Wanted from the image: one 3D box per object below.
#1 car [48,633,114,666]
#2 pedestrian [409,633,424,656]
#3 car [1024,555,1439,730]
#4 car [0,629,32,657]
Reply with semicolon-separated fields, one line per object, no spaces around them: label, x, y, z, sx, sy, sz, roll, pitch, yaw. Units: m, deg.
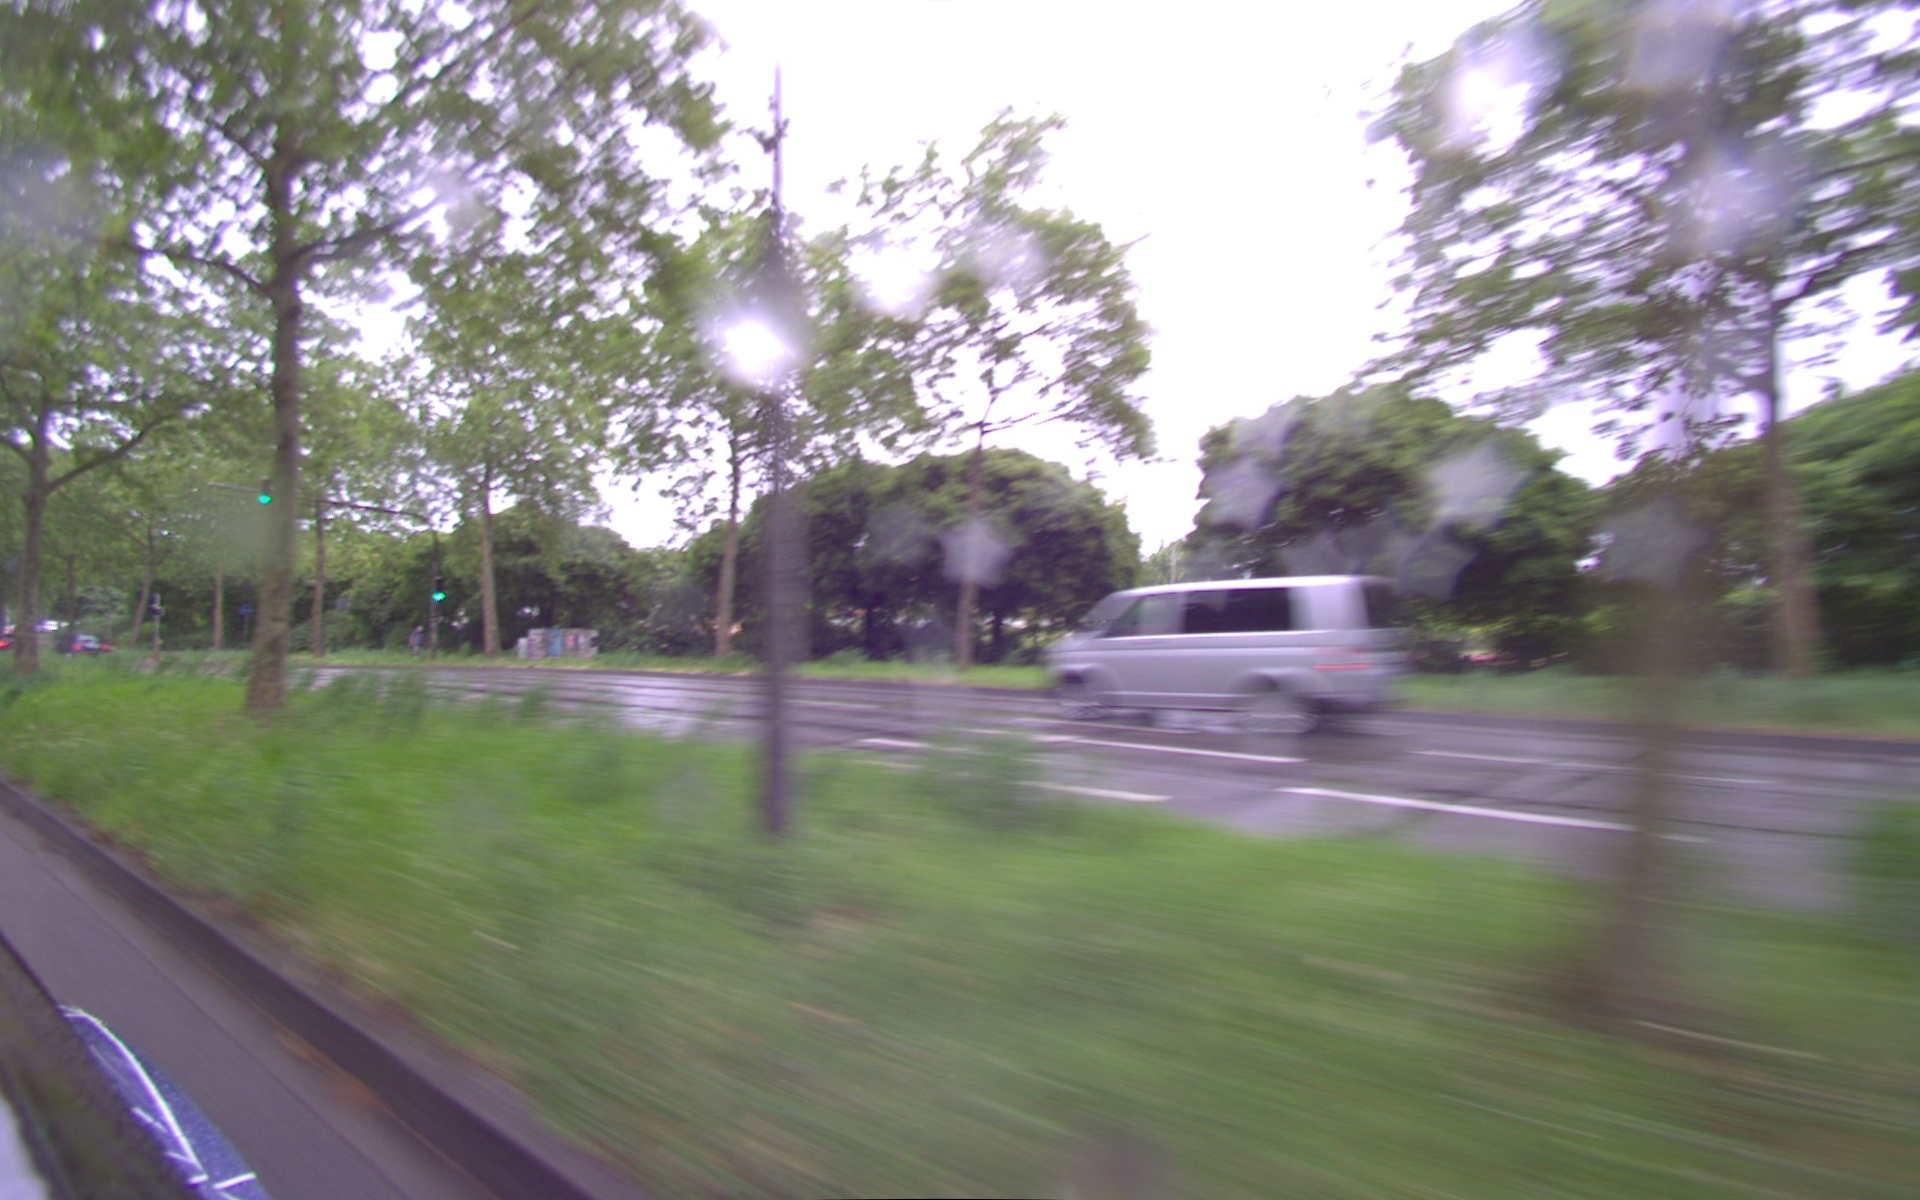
car;-44.249;2.456;50.913;3.994;1.567;1.762;-1;-2;38
pedestrian;-25.046;2.025;46.620;0.441;1.048;0.469;-2;-3;41
car;3.469;0.545;13.797;5.199;1.955;1.912;-2;-2;44
car;-55.205;2.461;58.415;3.994;1.567;1.762;-1;-2;38
